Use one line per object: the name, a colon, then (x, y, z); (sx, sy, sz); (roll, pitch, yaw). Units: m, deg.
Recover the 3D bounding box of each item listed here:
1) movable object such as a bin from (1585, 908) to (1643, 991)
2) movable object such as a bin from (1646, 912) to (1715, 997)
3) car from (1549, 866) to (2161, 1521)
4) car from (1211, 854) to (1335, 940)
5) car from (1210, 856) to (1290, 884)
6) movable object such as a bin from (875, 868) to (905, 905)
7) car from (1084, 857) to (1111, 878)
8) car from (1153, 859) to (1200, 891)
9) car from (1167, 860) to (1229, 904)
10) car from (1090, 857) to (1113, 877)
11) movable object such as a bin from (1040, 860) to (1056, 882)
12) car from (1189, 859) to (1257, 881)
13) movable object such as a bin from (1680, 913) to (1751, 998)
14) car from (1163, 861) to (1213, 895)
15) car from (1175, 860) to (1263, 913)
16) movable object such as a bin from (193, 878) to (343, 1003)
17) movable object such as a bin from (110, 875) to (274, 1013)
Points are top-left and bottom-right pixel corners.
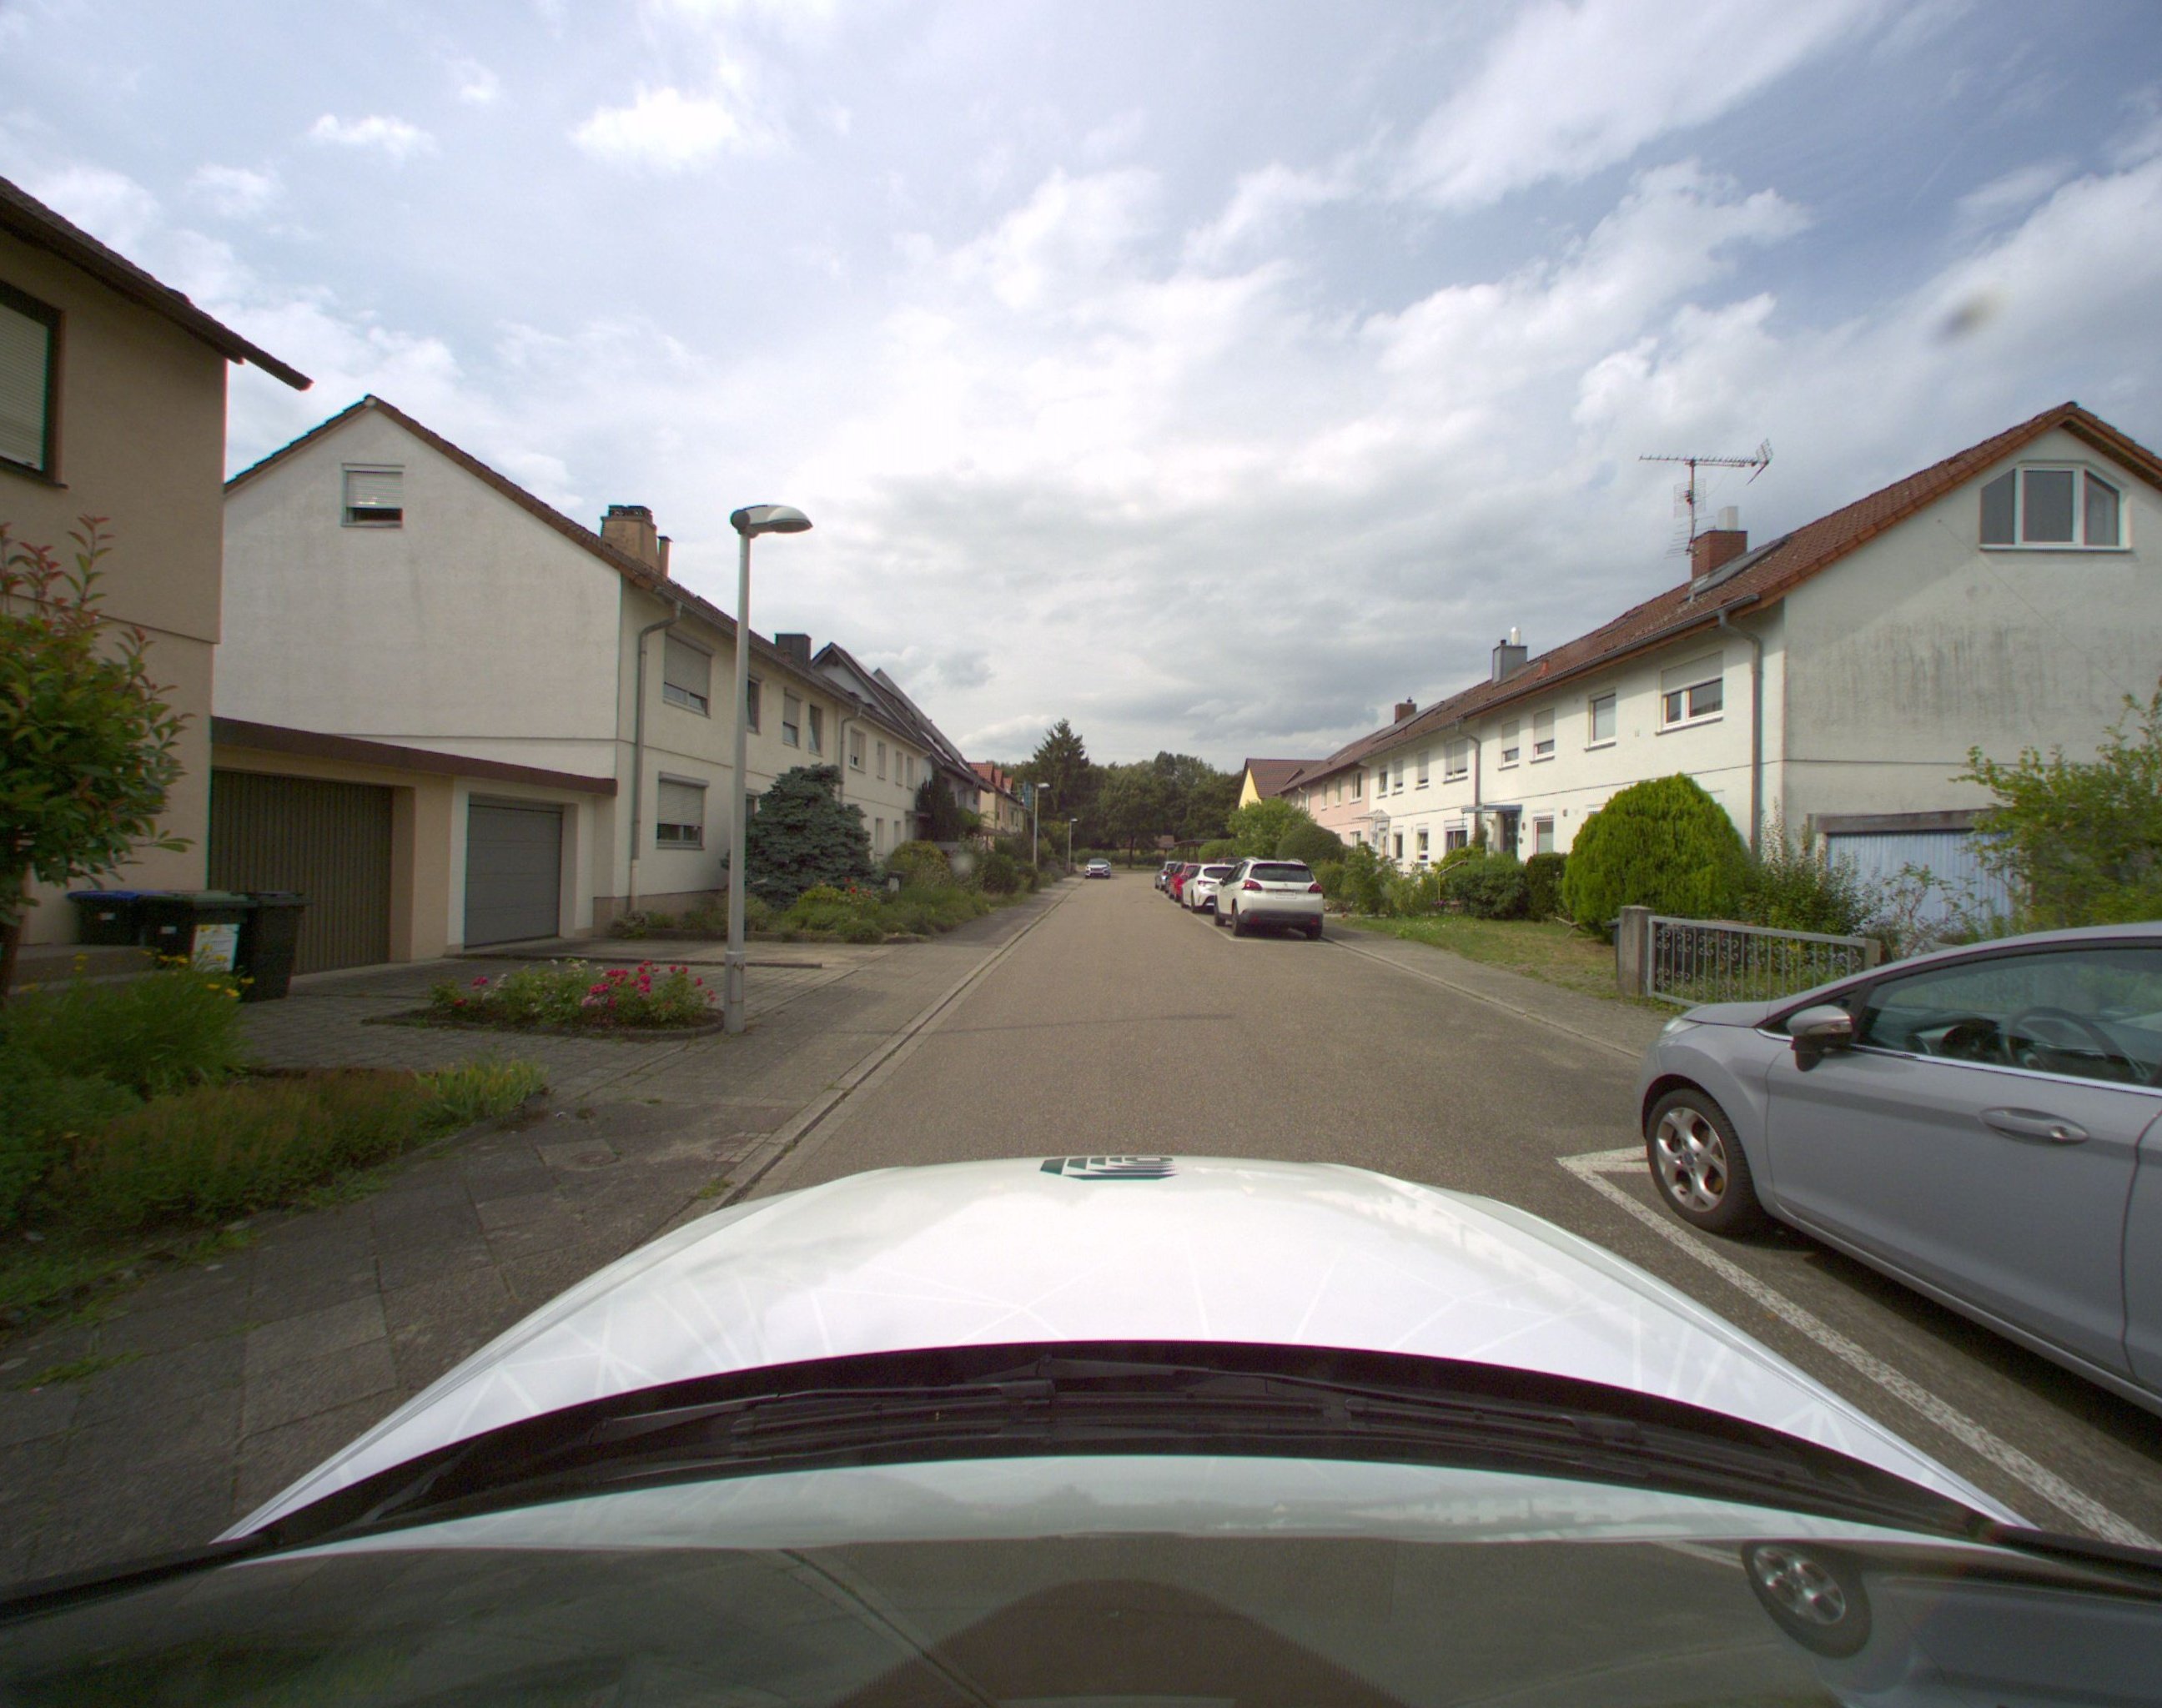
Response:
movable object such as a bin: (6.250, 1.115, 9.558); (0.406, 0.921, 0.420); (0, 0, -3)
movable object such as a bin: (6.913, 1.149, 9.401); (0.430, 0.921, 0.464); (2, 0, -3)
car: (3.445, 0.799, 2.428); (1.893, 1.460, 4.132); (0, 0, 3)
car: (3.922, 0.820, 17.258); (1.708, 1.543, 3.974); (2, 0, 1)
car: (9.597, 0.901, 46.564); (4.253, 1.560, 1.936); (0, 0, 2)
movable object such as a bin: (-5.341, 0.898, 22.835); (0.672, 1.007, 0.598); (0, 0, 2)
car: (1.288, 1.008, 61.881); (1.926, 1.556, 4.637); (0, 0, 3)
car: (4.737, 1.014, 40.871); (1.859, 1.417, 4.252); (1, 0, 0)
car: (4.280, 0.993, 30.542); (1.767, 1.436, 4.828); (3, 0, 2)
car: (1.687, 1.069, 67.273); (1.803, 1.562, 4.850); (0, 0, 2)
movable object such as a bin: (-2.042, 1.022, 50.112); (0.946, 1.312, 1.001); (0, -1, 1)
car: (9.804, 1.092, 56.470); (4.435, 1.433, 2.027); (0, 0, 0)
movable object such as a bin: (7.368, 1.169, 9.468); (0.430, 0.921, 0.464); (2, 0, -3)
car: (4.579, 0.989, 35.372); (1.766, 1.356, 4.268); (0, 0, 3)
car: (4.040, 0.916, 24.529); (1.832, 1.413, 4.635); (0, 0, -1)
movable object such as a bin: (-7.036, 0.727, 7.078); (0.650, 1.021, 0.633); (0, 0, 1)
movable object such as a bin: (-7.047, 0.693, 6.478); (0.650, 1.003, 0.542); (3, 0, 1)
